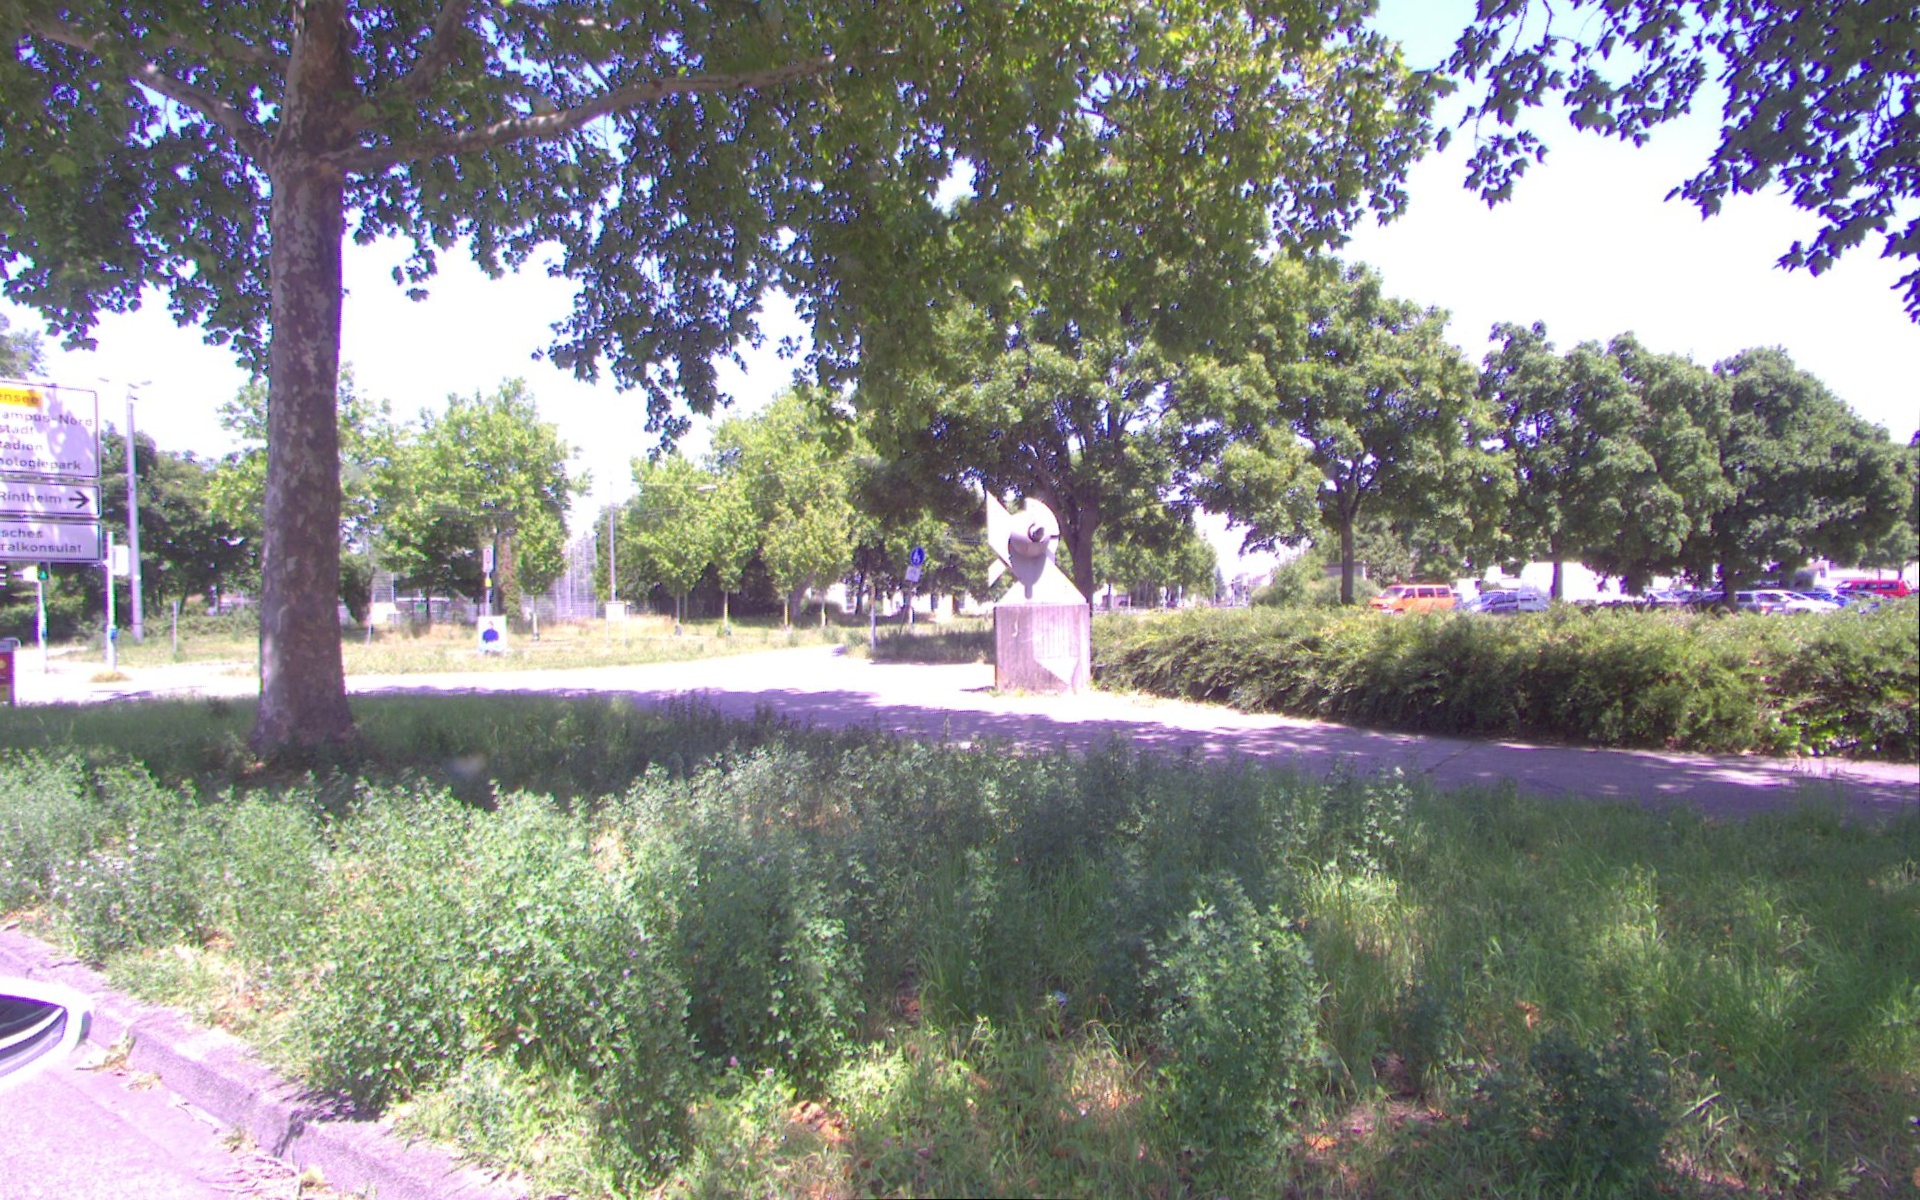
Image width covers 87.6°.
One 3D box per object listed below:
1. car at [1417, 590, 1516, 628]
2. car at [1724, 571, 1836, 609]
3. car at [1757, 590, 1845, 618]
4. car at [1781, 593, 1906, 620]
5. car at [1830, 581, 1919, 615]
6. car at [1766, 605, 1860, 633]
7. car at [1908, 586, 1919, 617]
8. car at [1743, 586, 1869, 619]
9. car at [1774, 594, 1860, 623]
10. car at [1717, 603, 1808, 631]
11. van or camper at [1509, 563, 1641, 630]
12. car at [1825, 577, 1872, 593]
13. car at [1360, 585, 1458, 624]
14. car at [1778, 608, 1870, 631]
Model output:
[{"bbox_3d":[23.930,0.407,47.318,4.000,1.741,1.952,-1,0,-18],"label":"car"},{"bbox_3d":[46.411,-0.552,56.791,2.209,2.040,4.409,-1,0,-22],"label":"car"},{"bbox_3d":[34.368,0.172,40.981,0.991,1.141,2.590,-1,0,-25],"label":"car"},{"bbox_3d":[36.717,0.292,41.698,1.655,1.048,3.553,-1,0,-25],"label":"car"},{"bbox_3d":[57.242,-0.104,62.487,1.935,2.040,3.987,0,-1,-23],"label":"car"},{"bbox_3d":[32.491,0.718,38.212,0.938,1.000,2.590,-1,0,-25],"label":"car"},{"bbox_3d":[44.874,0.052,44.665,1.690,1.384,3.414,-1,0,-25],"label":"car"},{"bbox_3d":[34.385,0.082,40.792,1.595,1.242,3.559,0,1,-25],"label":"car"},{"bbox_3d":[35.495,0.361,41.520,0.938,1.141,2.590,-1,0,-25],"label":"car"},{"bbox_3d":[30.853,0.643,38.554,0.938,1.050,2.590,-1,0,-25],"label":"car"},{"bbox_3d":[27.006,-0.165,43.986,5.039,2.787,2.199,-1,0,-18],"label":"van or camper"},{"bbox_3d":[92.672,-1.557,104.476,3.309,1.639,1.439,-1,0,19],"label":"car"},{"bbox_3d":[23.845,0.223,53.227,4.582,2.029,2.069,0,0,-19],"label":"car"},{"bbox_3d":[33.550,0.759,38.935,0.938,0.852,2.590,-1,0,-25],"label":"car"}]
